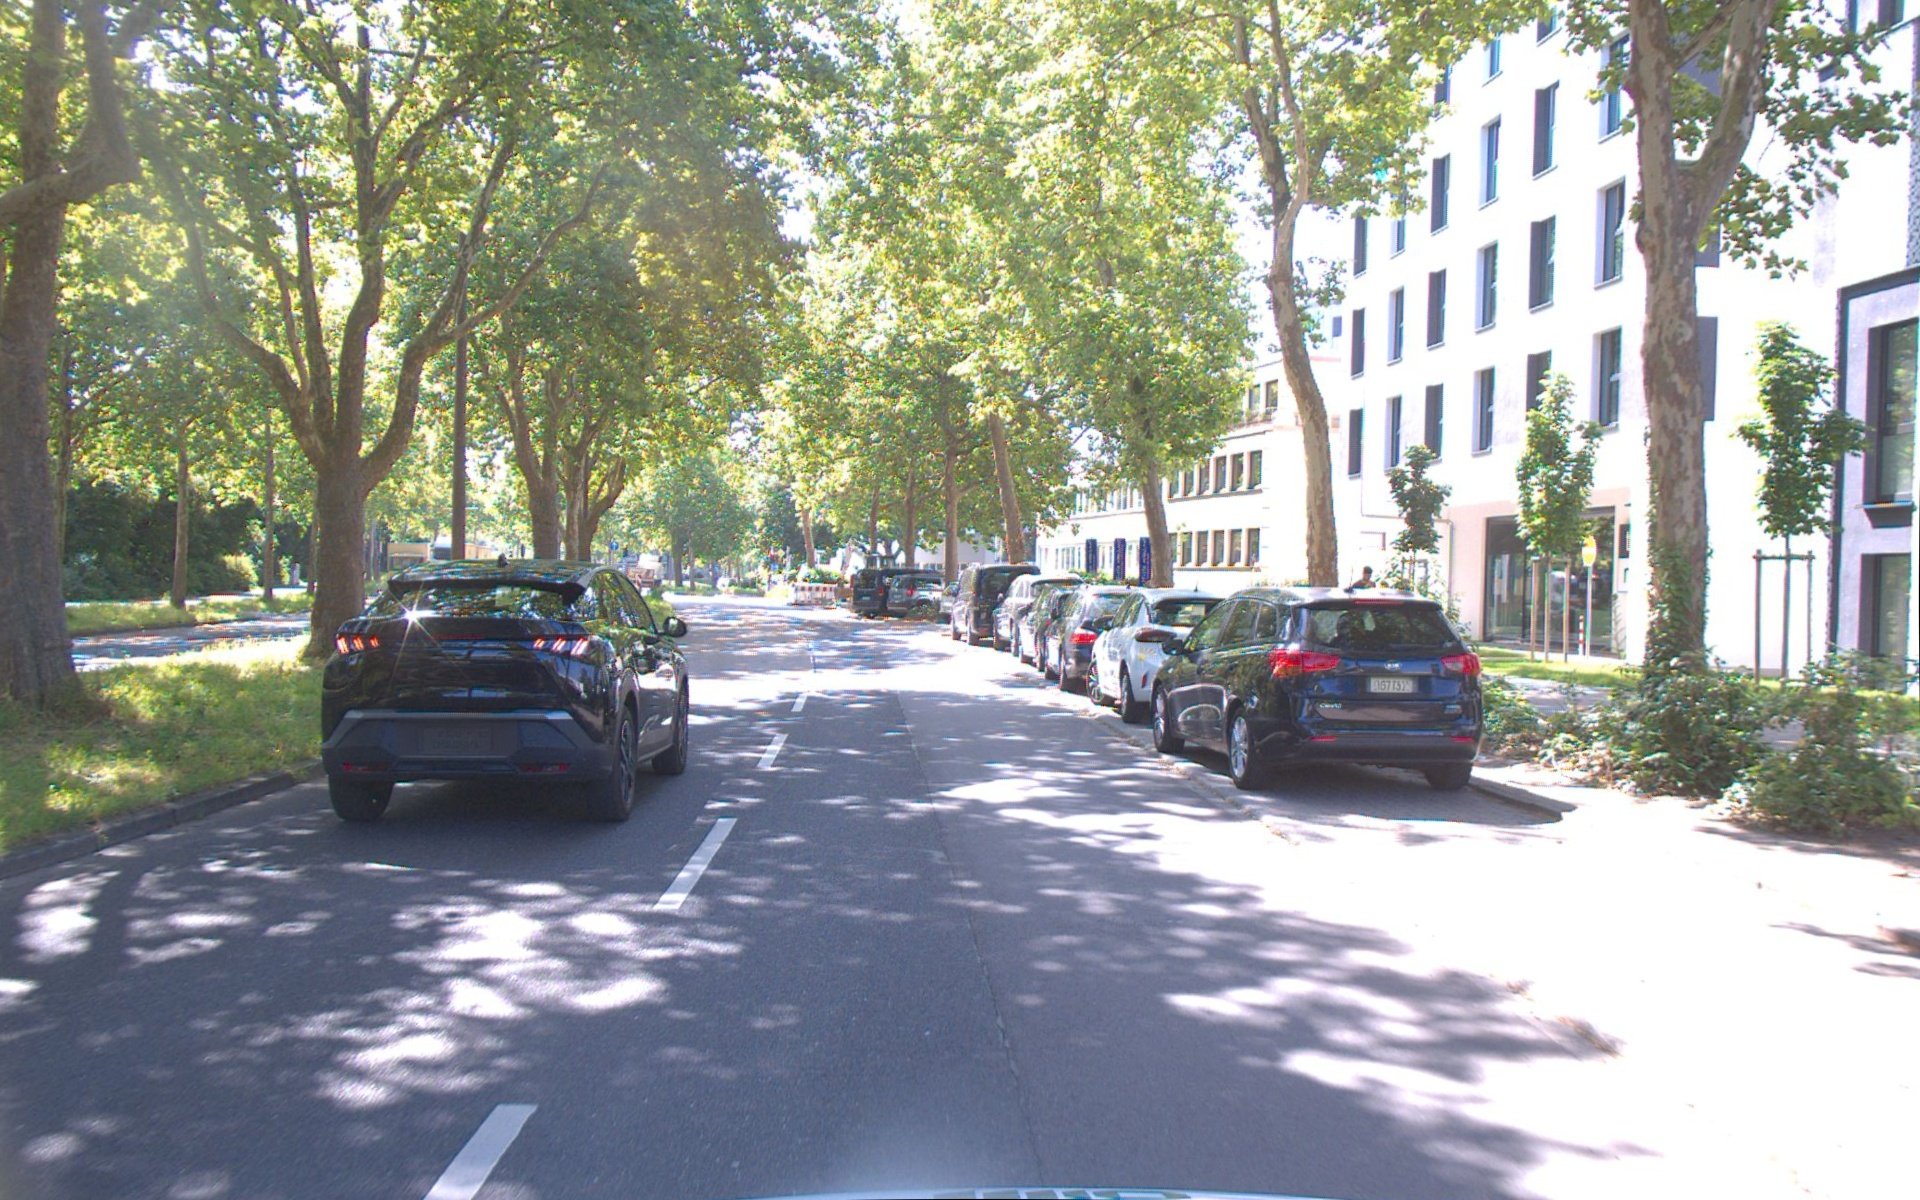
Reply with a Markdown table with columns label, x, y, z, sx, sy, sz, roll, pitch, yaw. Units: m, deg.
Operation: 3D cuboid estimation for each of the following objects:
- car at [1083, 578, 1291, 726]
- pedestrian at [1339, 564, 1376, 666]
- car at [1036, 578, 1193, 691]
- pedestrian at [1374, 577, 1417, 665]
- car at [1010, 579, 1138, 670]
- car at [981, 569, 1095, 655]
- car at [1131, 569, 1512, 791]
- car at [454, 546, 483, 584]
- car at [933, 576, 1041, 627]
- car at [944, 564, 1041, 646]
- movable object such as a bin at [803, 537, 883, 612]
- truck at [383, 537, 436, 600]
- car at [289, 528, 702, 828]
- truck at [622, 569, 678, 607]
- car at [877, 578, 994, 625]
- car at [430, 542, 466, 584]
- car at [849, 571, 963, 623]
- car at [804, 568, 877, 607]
| label | x | y | z | sx | sy | sz | roll | pitch | yaw |
| --- | --- | --- | --- | --- | --- | --- | --- | --- | --- |
| car | 2.521 | 0.530 | 19.288 | 1.672 | 1.513 | 4.099 | 1 | 0 | -3 |
| pedestrian | 7.302 | 0.277 | 30.401 | 0.466 | 1.839 | 0.637 | 1 | 0 | -3 |
| car | 2.178 | 0.444 | 24.494 | 1.672 | 1.480 | 4.653 | 1 | 0 | -2 |
| pedestrian | 8.052 | 0.385 | 30.599 | 0.601 | 1.609 | 0.570 | 1 | 0 | -4 |
| car | 1.998 | 0.405 | 30.243 | 1.673 | 1.513 | 4.480 | 1 | 0 | -5 |
| car | 1.604 | 0.224 | 35.553 | 1.674 | 1.698 | 4.526 | 1 | 0 | -7 |
| car | 2.743 | 0.525 | 13.728 | 1.674 | 1.513 | 4.712 | 0 | 0 | -6 |
| car | -46.962 | -3.330 | 158.176 | 2.021 | 3.494 | 6.749 | 1 | 0 | -12 |
| car | 0.935 | 0.054 | 57.403 | 3.488 | 1.668 | 1.655 | 1 | 0 | -10 |
| car | 0.741 | 0.107 | 40.644 | 1.674 | 1.874 | 4.718 | 1 | 0 | -7 |
| movable object such as a bin | -5.379 | -1.166 | 75.749 | 2.306 | 3.297 | 3.393 | 1 | 0 | -32 |
| truck | -32.886 | -1.904 | 99.000 | 2.410 | 3.509 | 7.071 | 3 | 1 | -15 |
| car | -3.031 | 0.445 | 11.801 | 1.834 | 1.726 | 4.434 | 0 | 0 | -2 |
| truck | -31.163 | -1.199 | 166.439 | 5.424 | 3.742 | 1.996 | 1 | 0 | -9 |
| car | -0.919 | 0.066 | 61.804 | 4.044 | 1.662 | 1.700 | 1 | 0 | -23 |
| car | -45.578 | -3.286 | 147.317 | 2.408 | 3.509 | 7.075 | 3 | 1 | -13 |
| car | -2.072 | -0.102 | 63.588 | 4.047 | 1.912 | 1.771 | 1 | 0 | -25 |
| car | -8.330 | -0.845 | 115.177 | 4.892 | 2.587 | 1.995 | 1 | 0 | -11 |
